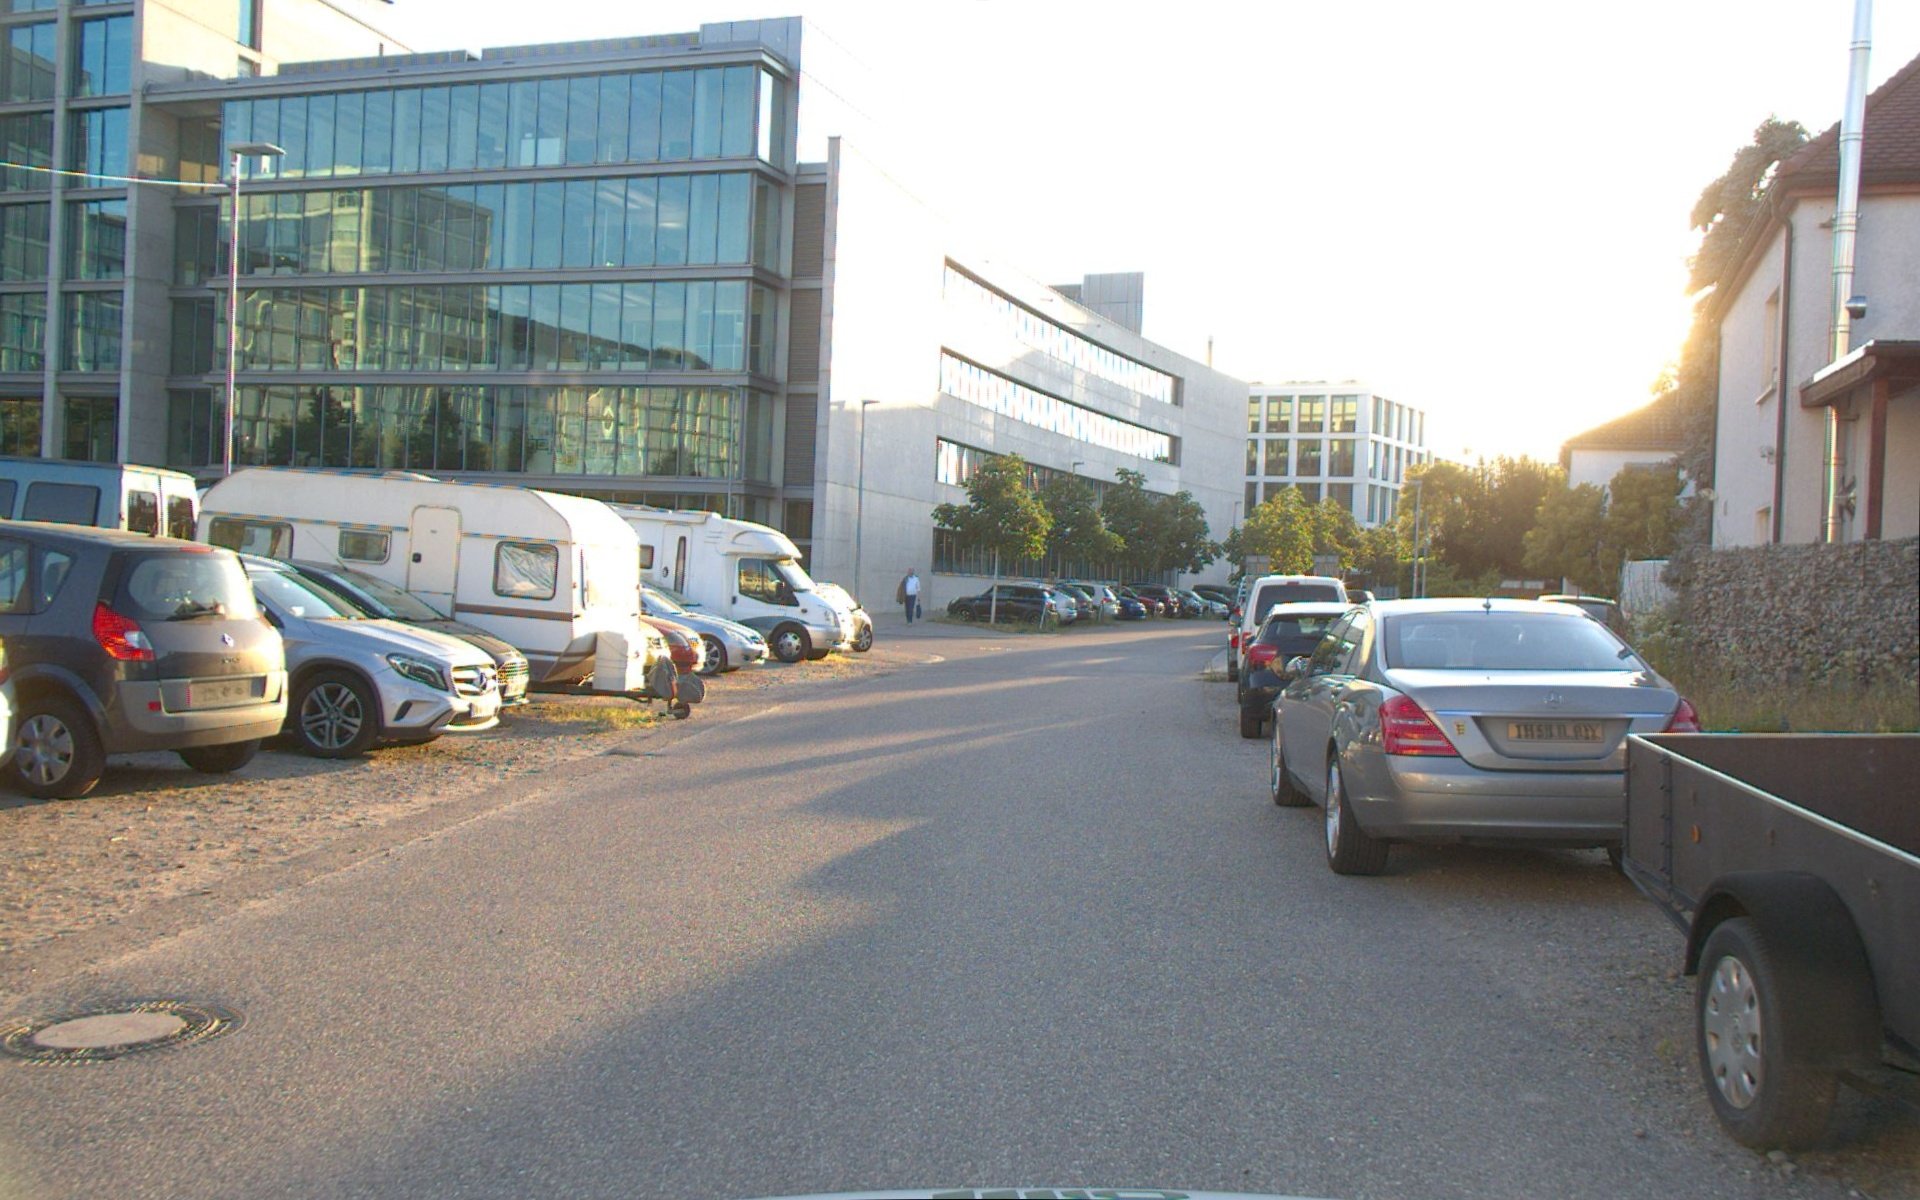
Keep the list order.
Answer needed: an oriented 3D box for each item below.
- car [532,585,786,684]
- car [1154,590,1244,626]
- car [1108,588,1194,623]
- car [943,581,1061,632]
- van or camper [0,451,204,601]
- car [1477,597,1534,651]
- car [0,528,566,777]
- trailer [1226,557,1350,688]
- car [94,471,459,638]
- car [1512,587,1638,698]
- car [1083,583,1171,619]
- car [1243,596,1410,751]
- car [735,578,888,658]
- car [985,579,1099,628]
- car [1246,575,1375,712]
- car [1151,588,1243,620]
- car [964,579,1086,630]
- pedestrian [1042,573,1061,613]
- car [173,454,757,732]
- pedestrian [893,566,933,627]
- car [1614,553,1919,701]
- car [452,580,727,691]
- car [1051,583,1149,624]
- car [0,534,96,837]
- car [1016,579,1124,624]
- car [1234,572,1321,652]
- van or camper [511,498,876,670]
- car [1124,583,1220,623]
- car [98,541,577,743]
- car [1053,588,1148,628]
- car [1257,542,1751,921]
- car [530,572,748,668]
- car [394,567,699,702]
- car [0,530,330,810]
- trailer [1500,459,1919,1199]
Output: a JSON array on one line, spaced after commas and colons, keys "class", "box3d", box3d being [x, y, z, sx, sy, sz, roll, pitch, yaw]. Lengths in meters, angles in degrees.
[{"class": "car", "box3d": [-4.925, 0.541, 27.313, 3.727, 1.351, 1.694, 3, 1, 6]}, {"class": "car", "box3d": [12.722, 0.425, 88.131, 4.316, 1.525, 1.760, 5, 1, 29]}, {"class": "car", "box3d": [8.973, 0.259, 77.690, 3.627, 1.483, 1.679, 3, 0, 22]}, {"class": "car", "box3d": [1.442, 0.206, 56.200, 3.655, 1.507, 1.771, 3, 2, 13]}, {"class": "van or camper", "box3d": [-13.203, -1.075, 23.301, 4.245, 1.924, 1.934, 3, 1, 12]}, {"class": "car", "box3d": [15.961, 0.671, 48.279, 1.496, 1.469, 3.641, 1, 1, 19]}, {"class": "car", "box3d": [-5.598, 0.399, 13.790, 4.039, 1.618, 1.749, 4, -1, 11]}, {"class": "trailer", "box3d": [6.167, 0.367, 31.601, 2.020, 2.250, 5.227, 1, 1, 8]}, {"class": "car", "box3d": [-12.862, -0.869, 31.227, 6.110, 2.719, 2.225, 3, 1, 13]}, {"class": "car", "box3d": [9.478, 0.676, 25.694, 1.601, 1.546, 3.904, 1, -2, 18]}, {"class": "car", "box3d": [7.691, 0.061, 76.116, 3.626, 1.483, 1.712, 3, 0, 20]}, {"class": "car", "box3d": [4.201, 0.753, 19.172, 1.668, 1.545, 4.092, 1, 0, 11]}, {"class": "car", "box3d": [-3.161, 0.403, 36.128, 1.652, 1.545, 4.362, 3, 0, 18]}, {"class": "car", "box3d": [3.027, 0.109, 61.016, 3.913, 1.538, 1.586, 3, 2, 13]}, {"class": "car", "box3d": [5.285, 0.596, 25.284, 1.733, 1.863, 4.412, 1, 0, 10]}, {"class": "car", "box3d": [12.294, 0.193, 85.847, 4.346, 1.489, 1.762, 2, 1, 25]}, {"class": "car", "box3d": [2.327, 0.148, 58.866, 3.999, 1.555, 1.848, 3, 1, 13]}, {"class": "pedestrian", "box3d": [4.263, -0.338, 77.307, 0.632, 1.815, 0.725, 3, 0, 19]}, {"class": "car", "box3d": [-5.523, -0.105, 18.885, 5.764, 2.577, 2.413, 4, 0, 9]}, {"class": "pedestrian", "box3d": [-1.484, -0.103, 52.123, 0.893, 1.882, 0.844, 1, 1, -40]}, {"class": "car", "box3d": [16.642, 0.469, 34.510, 5.450, 2.739, 2.053, 3, 2, 21]}, {"class": "car", "box3d": [-5.537, 0.509, 24.978, 3.648, 1.391, 1.706, 3, 1, 4]}, {"class": "car", "box3d": [6.009, 0.125, 70.726, 3.790, 1.537, 1.760, 3, 1, 20]}, {"class": "car", "box3d": [-7.045, 0.367, 8.860, 3.844, 1.618, 1.748, 3, -1, 3]}, {"class": "car", "box3d": [4.386, 0.060, 65.727, 3.905, 1.537, 1.760, 3, 1, 19]}, {"class": "car", "box3d": [9.159, 0.297, 47.439, 2.022, 2.131, 4.875, 1, 1, 16]}, {"class": "van or camper", "box3d": [-5.194, -0.338, 32.722, 6.597, 2.948, 2.411, 3, 0, 8]}, {"class": "car", "box3d": [10.289, 0.143, 80.147, 4.221, 1.726, 1.896, 3, 0, 22]}, {"class": "car", "box3d": [-6.147, 0.393, 16.588, 4.040, 1.618, 1.749, 4, 0, 6]}, {"class": "car", "box3d": [5.743, 0.313, 67.342, 3.556, 1.385, 1.687, 3, 1, 15]}, {"class": "car", "box3d": [2.966, 0.591, 10.169, 1.768, 1.755, 4.931, 0, 0, 4]}, {"class": "car", "box3d": [-5.805, 0.340, 30.178, 3.529, 1.502, 1.693, 3, 1, 3]}, {"class": "car", "box3d": [-5.513, 0.435, 22.299, 3.552, 1.545, 1.706, 3, 1, 4]}, {"class": "car", "box3d": [-6.470, 0.342, 11.024, 3.842, 1.618, 1.750, 3, 0, 11]}, {"class": "trailer", "box3d": [3.064, 0.587, 4.820, 1.694, 1.808, 4.940, 0, 0, 4]}]
